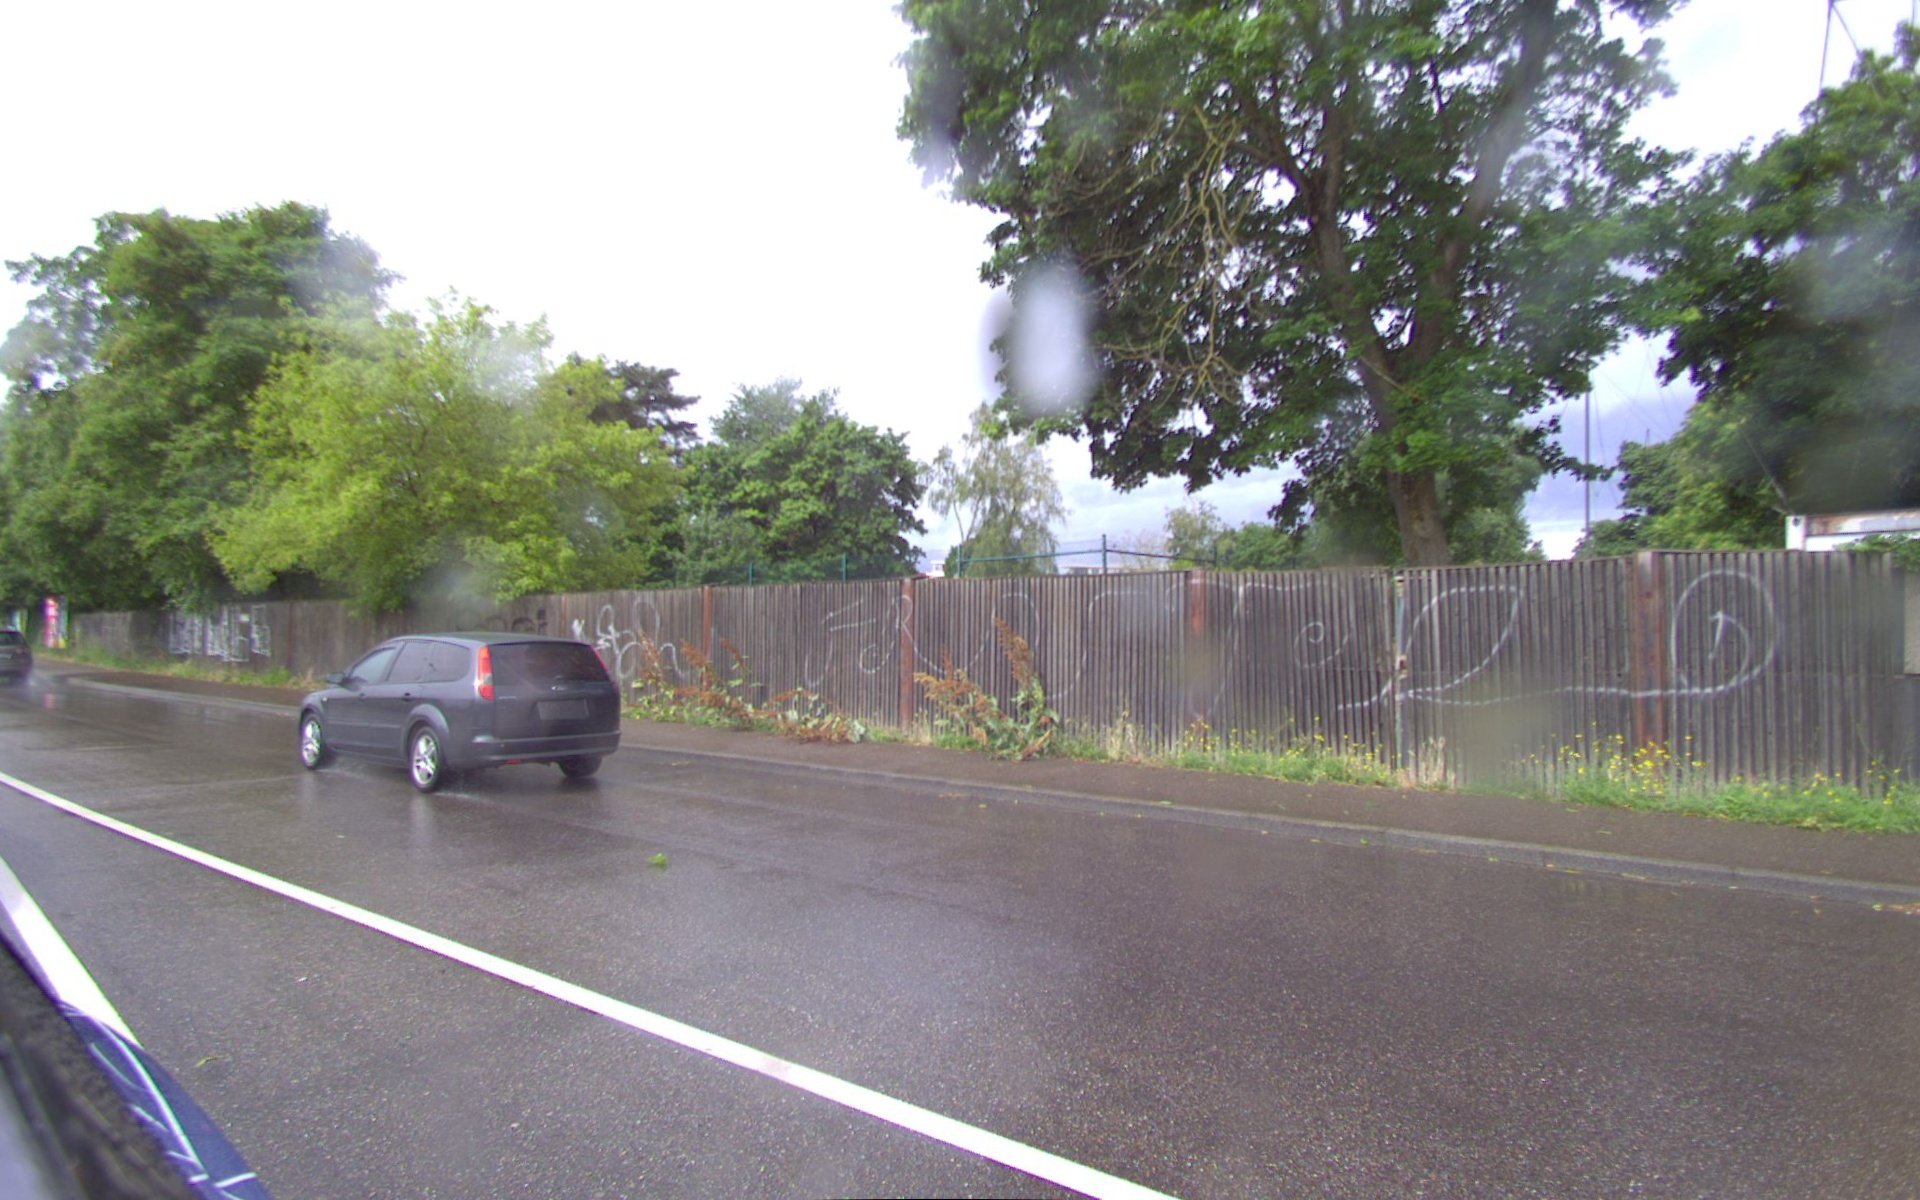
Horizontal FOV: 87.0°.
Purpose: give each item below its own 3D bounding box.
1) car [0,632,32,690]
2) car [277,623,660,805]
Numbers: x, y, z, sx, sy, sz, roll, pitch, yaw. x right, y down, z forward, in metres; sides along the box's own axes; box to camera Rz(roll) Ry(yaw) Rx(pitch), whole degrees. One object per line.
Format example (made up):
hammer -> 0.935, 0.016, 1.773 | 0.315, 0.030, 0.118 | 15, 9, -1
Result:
car -> -27.935, 1.679, 28.645 | 4.421, 1.564, 1.763 | -2, -5, 39
car -> -5.202, 1.012, 10.521 | 4.170, 1.494, 1.857 | -1, -2, 37
